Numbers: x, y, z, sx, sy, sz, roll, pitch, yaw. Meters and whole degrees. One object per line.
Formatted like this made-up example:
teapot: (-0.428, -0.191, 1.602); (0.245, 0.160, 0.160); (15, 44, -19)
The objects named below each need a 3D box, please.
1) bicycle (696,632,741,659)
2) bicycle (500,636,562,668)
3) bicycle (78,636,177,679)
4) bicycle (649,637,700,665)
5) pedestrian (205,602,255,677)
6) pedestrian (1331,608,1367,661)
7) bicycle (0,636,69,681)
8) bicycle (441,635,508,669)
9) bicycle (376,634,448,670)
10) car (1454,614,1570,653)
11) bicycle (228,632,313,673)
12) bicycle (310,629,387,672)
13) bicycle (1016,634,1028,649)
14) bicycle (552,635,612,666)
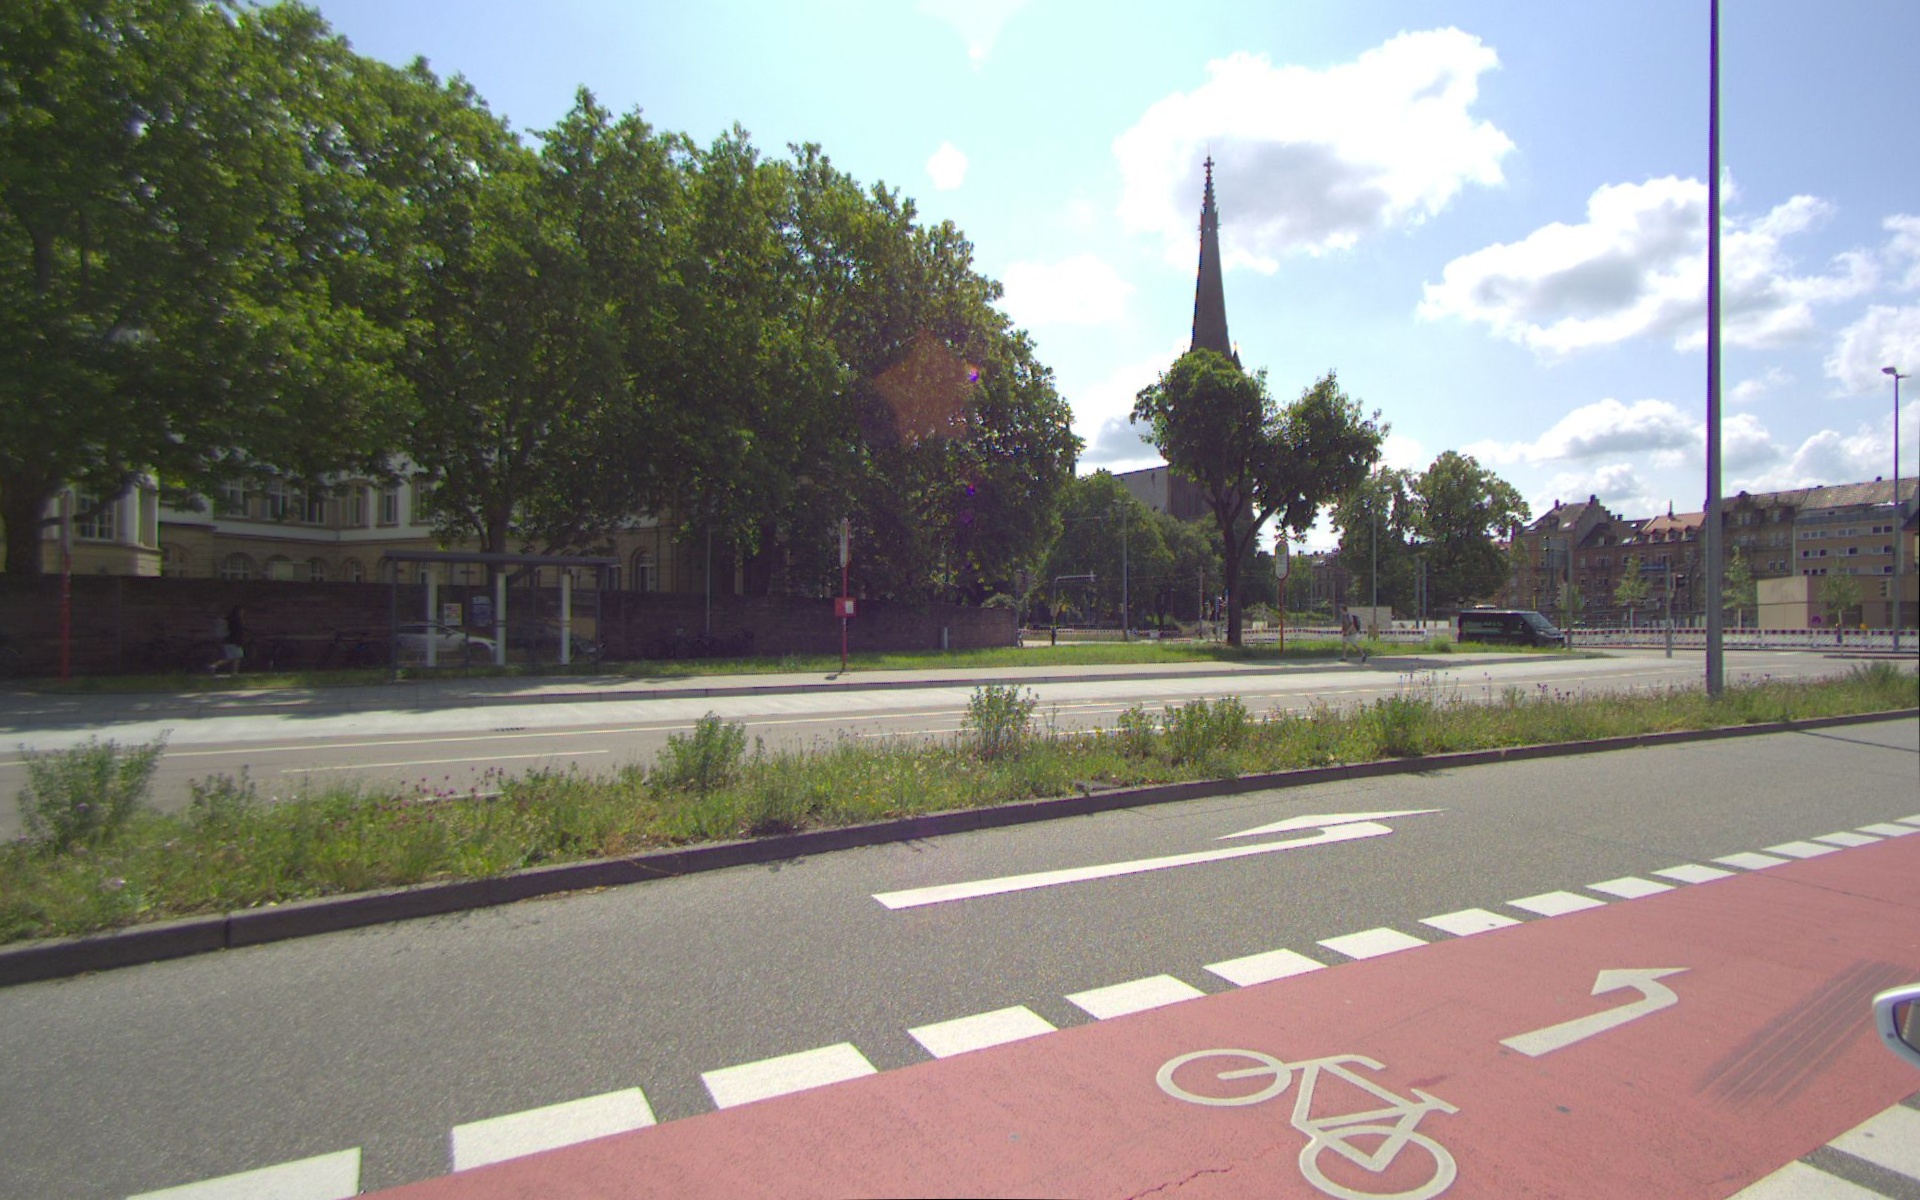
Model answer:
bicycle: (-8.717, 1.638, 36.260); (0.536, 0.914, 1.660); (0, -1, 34)
bicycle: (-12.855, 1.539, 30.106); (0.537, 0.914, 1.658); (0, -1, 39)
bicycle: (-18.675, 1.275, 22.562); (0.538, 0.914, 1.655); (0, -1, 44)
bicycle: (-9.787, 1.724, 34.469); (0.537, 0.914, 1.658); (0, -1, 39)
pedestrian: (-16.388, 0.867, 22.541); (0.607, 1.638, 0.754); (1, 0, 39)
pedestrian: (11.732, 1.043, 30.318); (0.858, 1.580, 0.555); (0, -1, 0)
bicycle: (-19.774, 1.214, 20.998); (1.648, 0.914, 0.498); (1, -1, -34)
bicycle: (-13.871, 1.469, 28.753); (0.537, 0.914, 1.658); (0, -1, 39)
bicycle: (-14.923, 1.409, 27.393); (0.537, 0.914, 1.658); (0, -1, 39)
car: (28.639, 1.707, 52.274); (1.908, 1.904, 4.980); (0, -1, -33)
bicycle: (-16.911, 1.279, 24.669); (0.538, 0.964, 1.656); (0, -1, 43)
bicycle: (-15.763, 1.276, 25.905); (0.538, 1.065, 1.615); (0, -1, 43)
bicycle: (3.804, 2.527, 61.505); (0.534, 0.914, 1.666); (0, -1, 12)
bicycle: (-11.878, 1.581, 31.598); (0.446, 0.914, 1.786); (0, -1, 39)
